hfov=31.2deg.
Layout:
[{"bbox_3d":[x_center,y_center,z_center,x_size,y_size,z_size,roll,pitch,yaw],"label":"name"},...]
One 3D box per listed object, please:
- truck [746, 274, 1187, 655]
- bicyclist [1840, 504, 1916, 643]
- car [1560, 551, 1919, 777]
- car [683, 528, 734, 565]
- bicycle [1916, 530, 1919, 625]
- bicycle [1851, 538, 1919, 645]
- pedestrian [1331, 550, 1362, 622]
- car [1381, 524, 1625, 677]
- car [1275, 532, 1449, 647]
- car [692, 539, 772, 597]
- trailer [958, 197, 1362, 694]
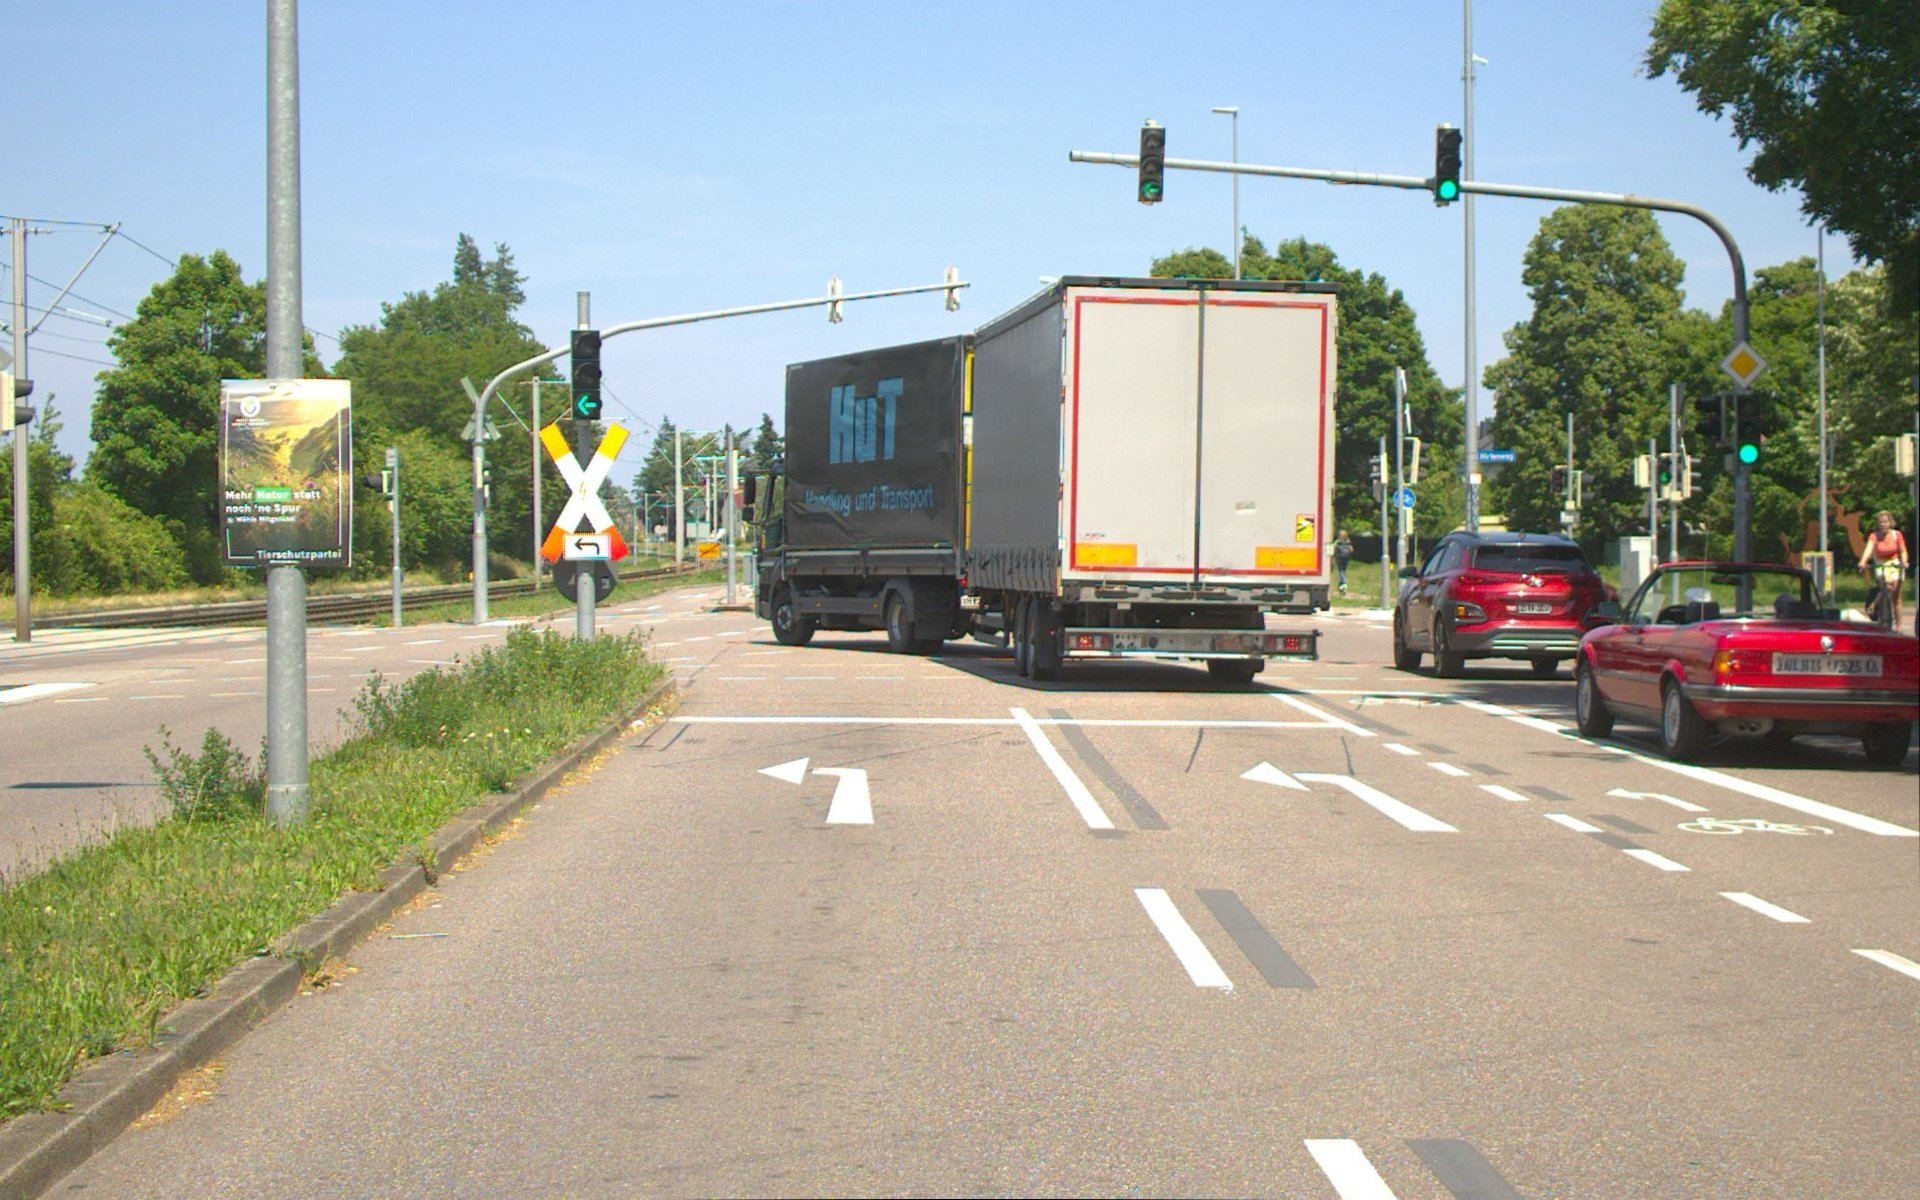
[{"bbox_3d":[-0.137,-1.612,43.817,2.826,4.329,8.286,1,0,-20],"label":"truck"},{"bbox_3d":[11.613,-0.336,43.505,0.802,1.721,0.679,-2,0,10],"label":"bicyclist"},{"bbox_3d":[5.534,0.387,24.271,1.654,1.392,4.268,1,1,-2],"label":"car"},{"bbox_3d":[-9.938,-2.126,135.873,1.858,1.368,4.157,1,1,-2],"label":"car"},{"bbox_3d":[11.400,-0.170,38.915,0.725,1.291,1.302,-2,1,32],"label":"bicycle"},{"bbox_3d":[11.723,-0.122,43.572,0.644,1.300,1.625,-2,1,10],"label":"bicycle"},{"bbox_3d":[10.960,-0.392,97.498,0.742,2.007,0.613,1,1,0],"label":"pedestrian"},{"bbox_3d":[5.838,-0.034,37.413,1.858,1.544,3.887,1,1,-2],"label":"car"},{"bbox_3d":[5.739,-0.182,48.617,1.994,1.498,4.500,0,2,13],"label":"car"},{"bbox_3d":[-5.658,-0.811,85.717,1.858,1.368,4.157,1,1,-2],"label":"car"},{"bbox_3d":[1.800,-1.480,35.227,2.826,4.406,8.751,1,1,-5],"label":"trailer"}]
